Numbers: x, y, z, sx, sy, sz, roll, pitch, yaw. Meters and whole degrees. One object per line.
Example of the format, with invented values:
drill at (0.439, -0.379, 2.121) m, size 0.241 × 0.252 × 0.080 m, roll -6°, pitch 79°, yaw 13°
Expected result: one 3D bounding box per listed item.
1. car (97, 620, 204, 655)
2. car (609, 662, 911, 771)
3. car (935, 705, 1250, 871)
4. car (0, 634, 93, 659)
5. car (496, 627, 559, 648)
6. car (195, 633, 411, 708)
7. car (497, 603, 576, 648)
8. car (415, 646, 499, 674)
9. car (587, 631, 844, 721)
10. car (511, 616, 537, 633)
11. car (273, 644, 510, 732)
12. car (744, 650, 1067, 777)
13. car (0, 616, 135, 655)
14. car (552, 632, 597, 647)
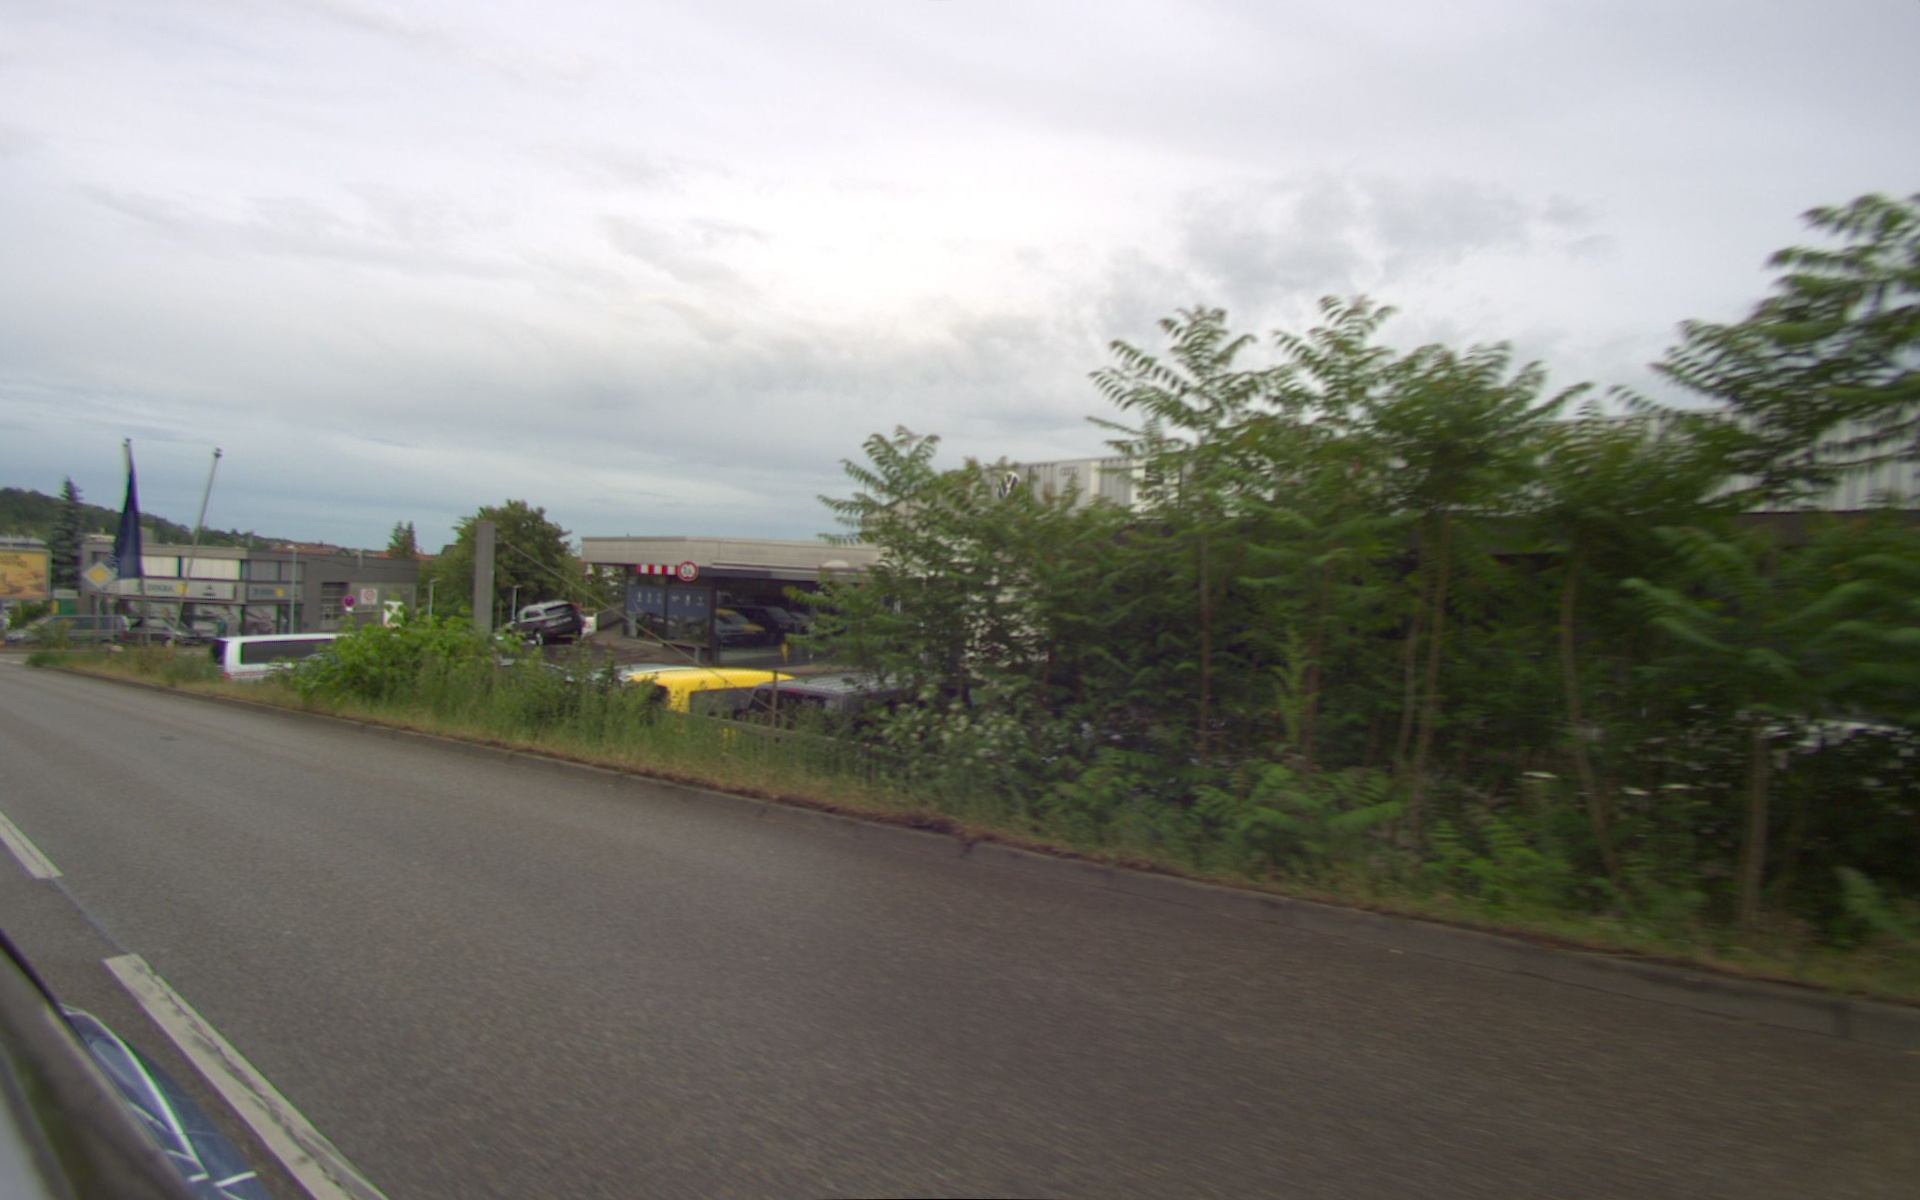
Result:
car at (-48.998, 2.236, 61.349) m, size 4.803 × 2.002 × 2.002 m, roll -1°, pitch -1°, yaw -5°
car at (-2.829, 1.601, 14.896) m, size 4.014 × 1.301 × 1.806 m, roll 2°, pitch -3°, yaw -44°
car at (1.660, 1.945, 11.430) m, size 1.801 × 1.220 × 4.025 m, roll -1°, pitch -3°, yaw 37°
car at (-49.249, 2.465, 54.050) m, size 1.761 × 1.277 × 4.067 m, roll 0°, pitch -2°, yaw 27°
car at (-30.177, 2.597, 70.604) m, size 3.921 × 1.439 × 1.850 m, roll 1°, pitch -2°, yaw -25°
car at (-17.191, 1.785, 26.651) m, size 1.932 × 1.811 × 4.369 m, roll -1°, pitch -3°, yaw 39°
car at (-17.753, 1.048, 42.349) m, size 4.251 × 1.814 × 1.384 m, roll -1°, pitch -3°, yaw 43°
car at (-27.455, 3.281, 55.395) m, size 4.034 × 1.439 × 1.896 m, roll 1°, pitch -2°, yaw -25°
car at (-4.174, 1.266, 17.886) m, size 1.872 × 1.379 × 4.187 m, roll -1°, pitch -3°, yaw 37°
car at (-41.401, 2.346, 96.201) m, size 1.384 × 1.559 × 3.220 m, roll 1°, pitch -2°, yaw -8°
car at (-13.102, 1.941, 23.562) m, size 1.999 × 1.811 × 4.371 m, roll -1°, pitch -3°, yaw 37°
car at (-0.494, 1.255, 12.395) m, size 1.801 × 1.220 × 4.025 m, roll -1°, pitch -3°, yaw 37°
car at (-46.116, 1.837, 52.311) m, size 1.816 × 1.885 × 5.029 m, roll 0°, pitch -2°, yaw 31°
car at (-30.187, 3.086, 79.285) m, size 3.205 × 1.188 × 1.456 m, roll 1°, pitch -2°, yaw -25°
